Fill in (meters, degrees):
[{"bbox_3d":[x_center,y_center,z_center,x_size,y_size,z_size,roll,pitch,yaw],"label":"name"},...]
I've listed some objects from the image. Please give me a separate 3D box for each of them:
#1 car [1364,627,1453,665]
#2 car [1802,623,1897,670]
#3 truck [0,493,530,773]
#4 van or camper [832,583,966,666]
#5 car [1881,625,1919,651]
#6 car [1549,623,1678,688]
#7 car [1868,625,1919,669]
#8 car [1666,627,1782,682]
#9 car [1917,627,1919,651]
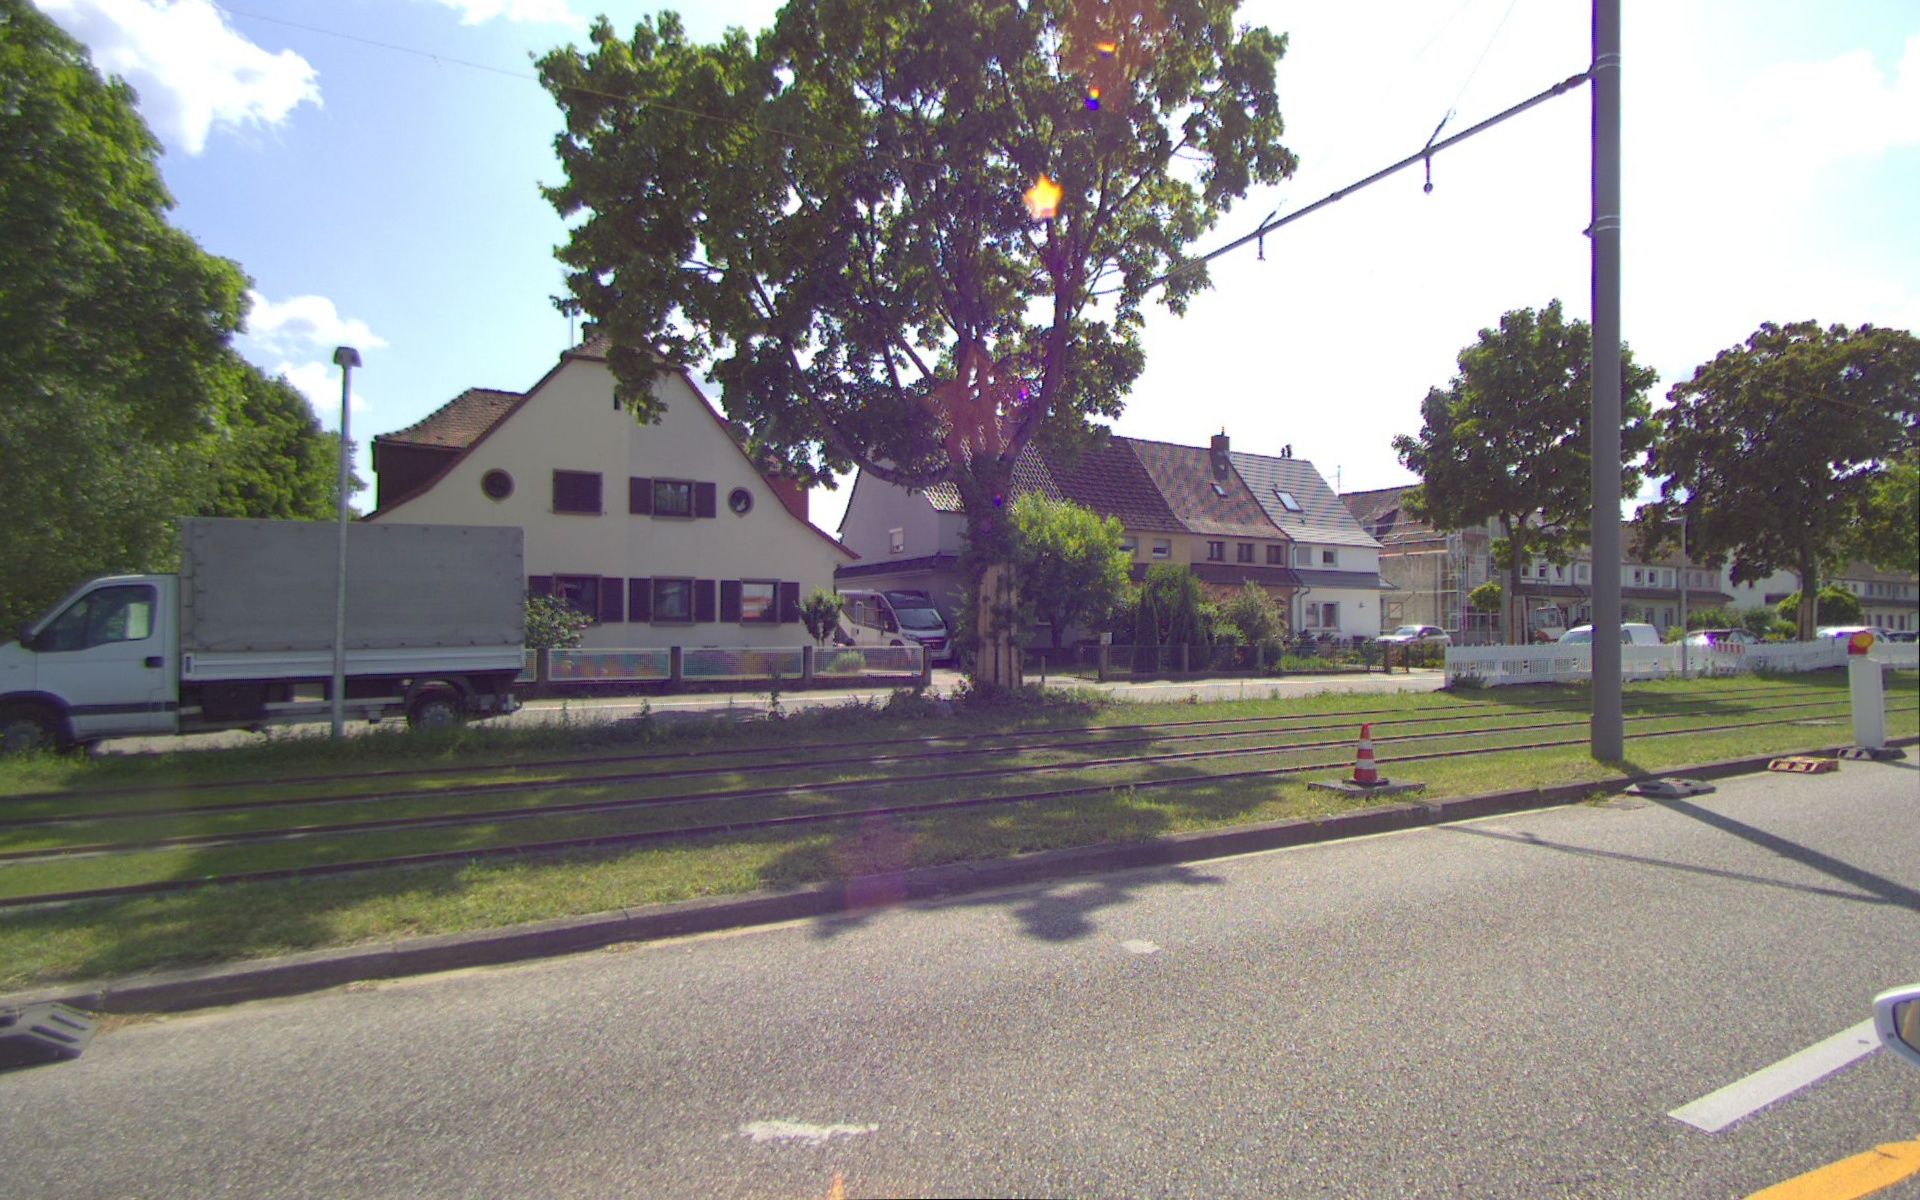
[{"bbox_3d":[19.887,1.997,44.478,3.814,1.614,1.691,1,-2,-30],"label":"car"},{"bbox_3d":[34.943,1.807,39.447,3.814,1.762,1.691,1,-2,-30],"label":"car"},{"bbox_3d":[-8.800,0.417,12.933,5.805,3.027,1.994,1,-2,-30],"label":"truck"},{"bbox_3d":[-2.353,0.912,36.649,2.224,2.745,5.963,1,-2,-33],"label":"van or camper"},{"bbox_3d":[66.751,2.685,70.728,4.013,1.762,1.691,1,-2,-30],"label":"car"},{"bbox_3d":[19.499,1.608,29.958,3.814,1.841,1.691,1,-2,-30],"label":"car"},{"bbox_3d":[40.387,1.963,42.598,3.814,1.762,1.691,1,-2,-30],"label":"car"},{"bbox_3d":[25.744,1.803,33.825,4.006,1.762,1.691,1,-2,-30],"label":"car"},{"bbox_3d":[72.003,2.847,73.587,4.013,1.762,1.691,1,-2,-30],"label":"car"}]
